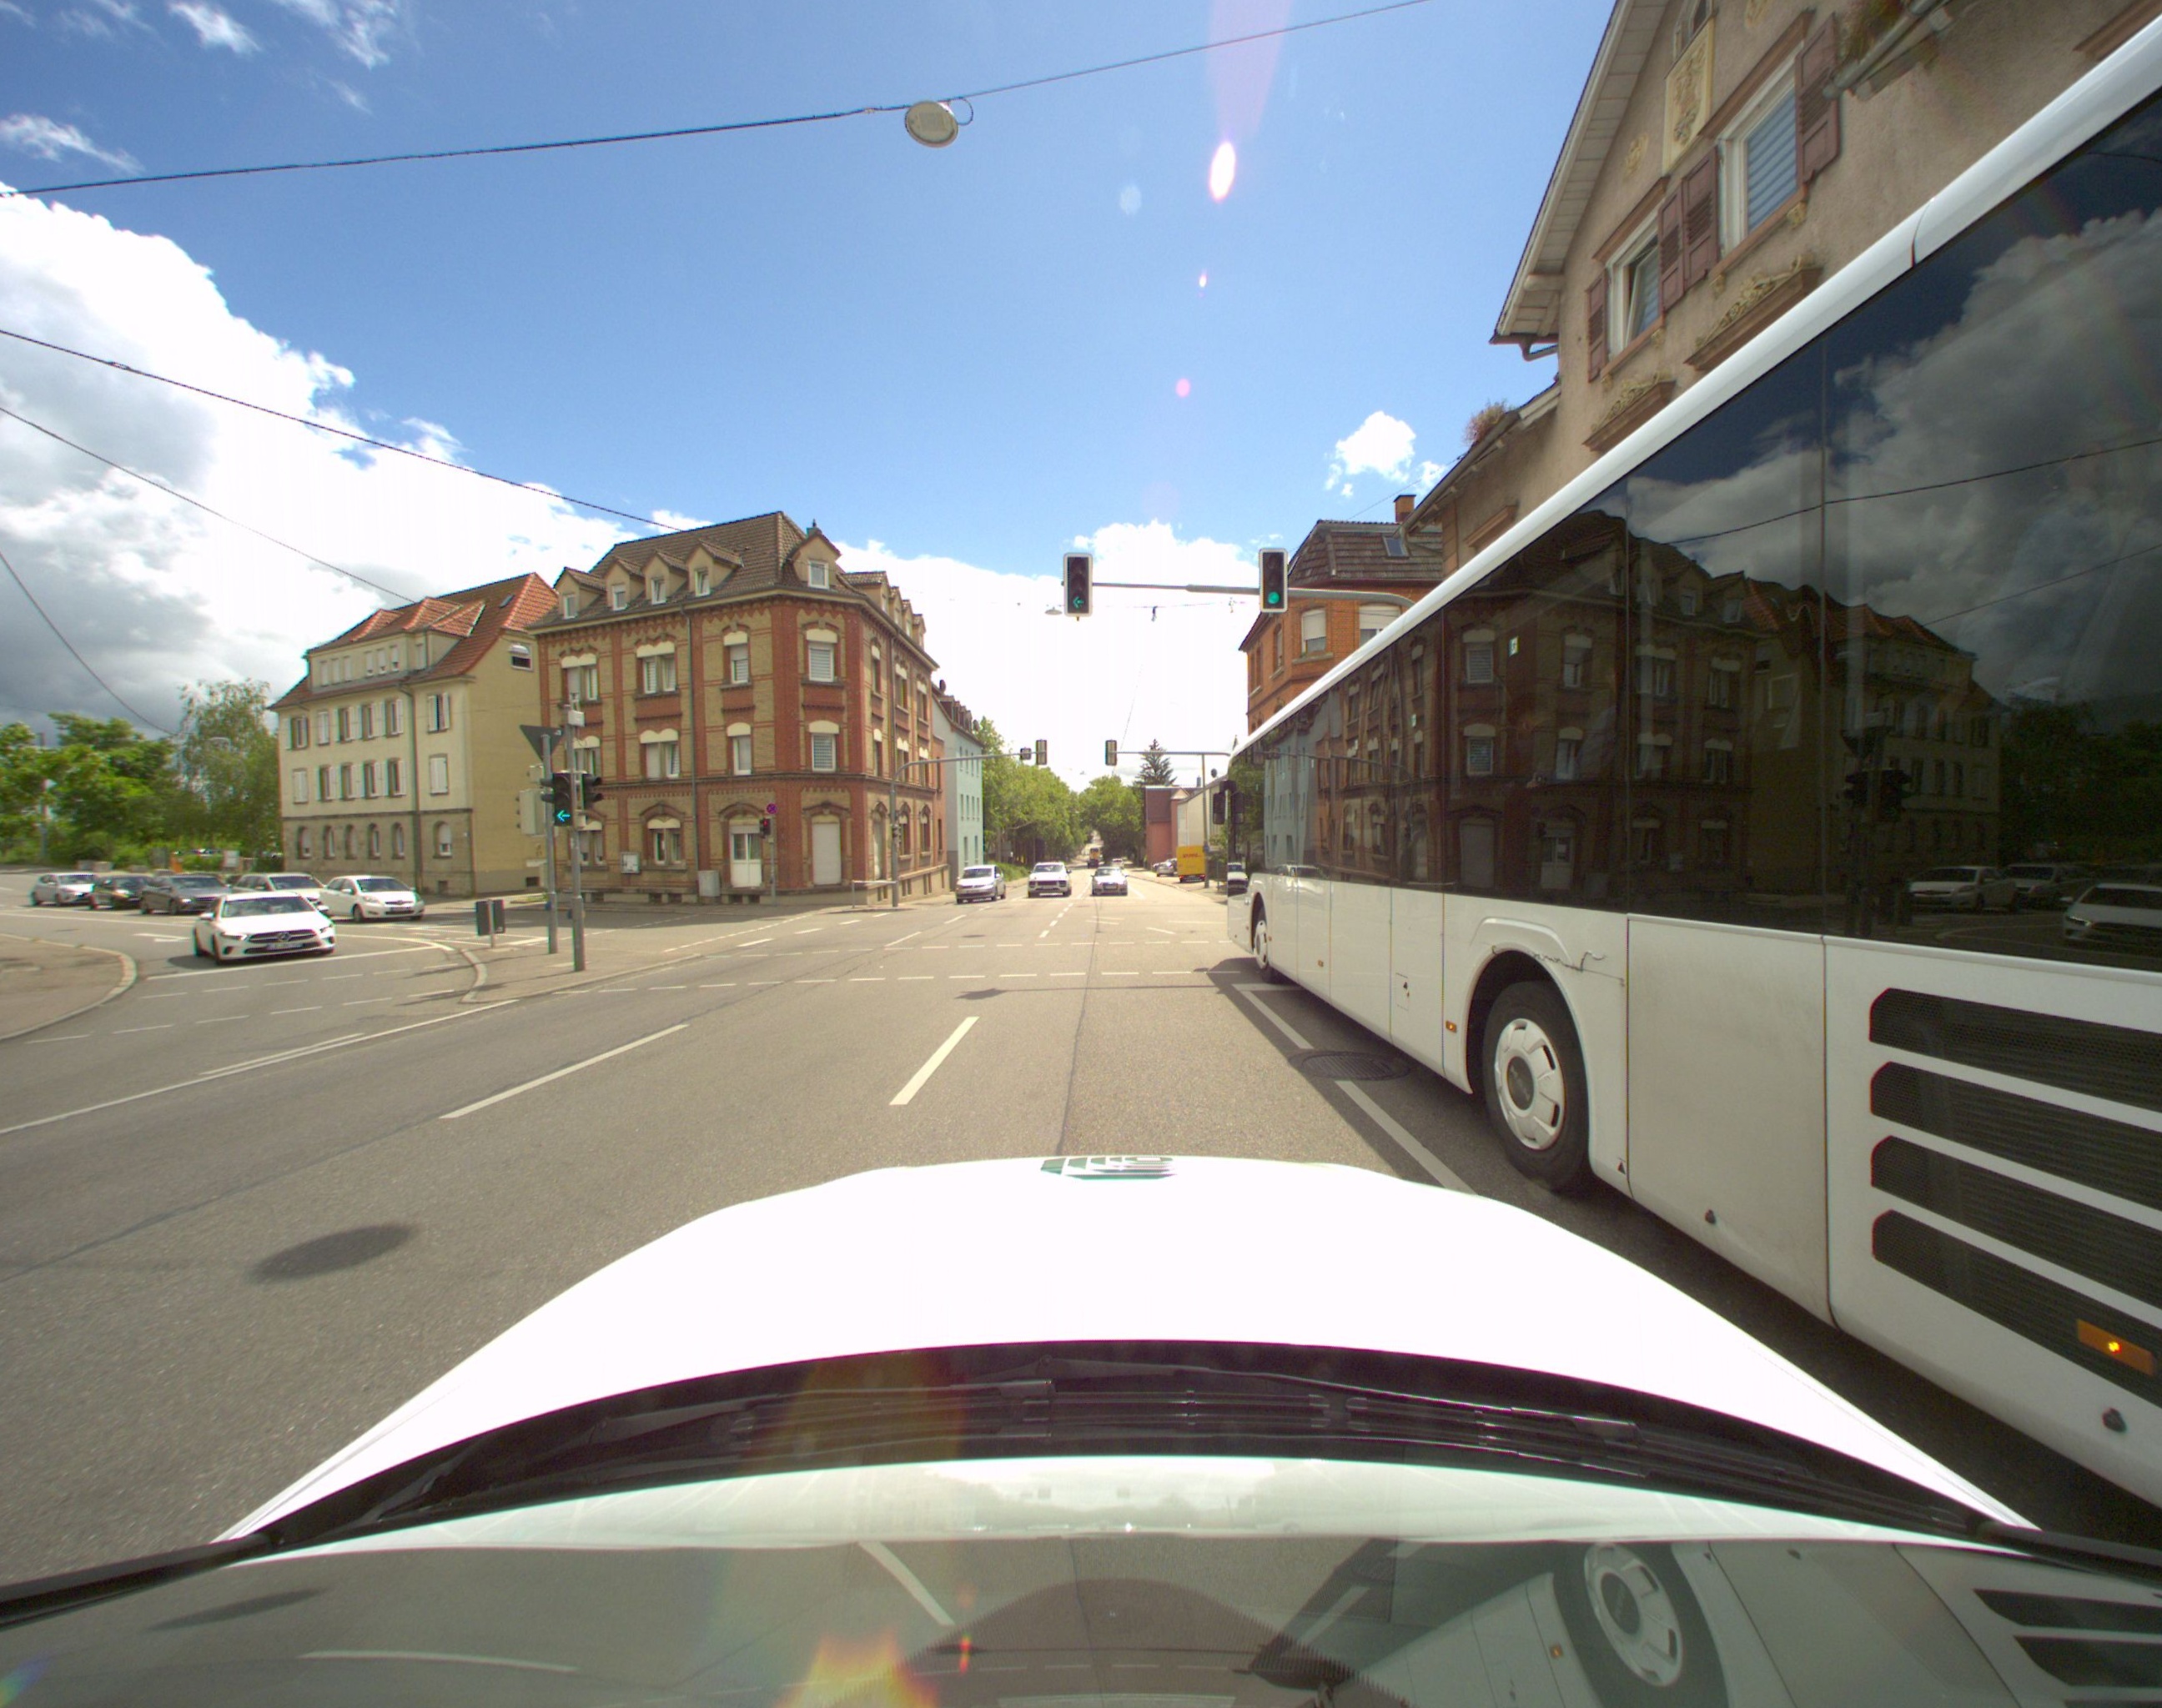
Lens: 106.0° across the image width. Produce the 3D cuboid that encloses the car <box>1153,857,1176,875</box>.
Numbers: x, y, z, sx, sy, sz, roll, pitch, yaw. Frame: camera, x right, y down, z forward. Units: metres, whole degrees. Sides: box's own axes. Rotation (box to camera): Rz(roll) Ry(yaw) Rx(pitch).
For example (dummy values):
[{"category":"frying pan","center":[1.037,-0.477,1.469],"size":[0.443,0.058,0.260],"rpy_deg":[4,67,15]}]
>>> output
[{"category":"car","center":[8.897,1.249,87.037],"size":[1.905,1.817,3.998],"rpy_deg":[-1,-1,-1]}]

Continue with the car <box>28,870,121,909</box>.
[{"category":"car","center":[-47.147,1.642,38.157],"size":[3.950,1.720,1.957],"rpy_deg":[-1,-1,27]}]

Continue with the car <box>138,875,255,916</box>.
[{"category":"car","center":[-35.540,1.656,32.712],"size":[3.951,1.519,2.011],"rpy_deg":[-1,-1,24]}]

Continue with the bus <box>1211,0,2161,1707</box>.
[{"category":"bus","center":[3.373,-0.200,6.834],"size":[2.894,3.510,12.491],"rpy_deg":[-1,-1,2]}]

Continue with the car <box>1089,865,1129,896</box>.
[{"category":"car","center":[1.399,1.296,40.763],"size":[1.858,1.367,4.548],"rpy_deg":[-2,0,2]}]

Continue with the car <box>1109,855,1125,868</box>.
[{"category":"car","center":[5.487,1.108,123.634],"size":[2.086,1.830,4.140],"rpy_deg":[-1,0,-2]}]

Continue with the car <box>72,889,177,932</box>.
[{"category":"car","center":[-40.659,2.348,34.611],"size":[4.291,1.586,2.012],"rpy_deg":[-1,0,29]}]

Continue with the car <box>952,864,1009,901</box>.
[{"category":"car","center":[-4.585,1.267,37.776],"size":[1.928,1.563,4.390],"rpy_deg":[-2,0,2]}]

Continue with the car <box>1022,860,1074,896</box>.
[{"category":"car","center":[-1.575,1.123,40.384],"size":[2.199,1.613,4.548],"rpy_deg":[-2,0,2]}]

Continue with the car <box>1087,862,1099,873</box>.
[{"category":"car","center":[2.098,2.392,140.863],"size":[1.813,1.784,4.001],"rpy_deg":[-2,0,2]}]

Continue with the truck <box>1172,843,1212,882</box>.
[{"category":"truck","center":[8.892,0.683,64.874],"size":[2.524,2.913,6.595],"rpy_deg":[-1,-1,13]}]

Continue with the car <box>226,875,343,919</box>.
[{"category":"car","center":[-29.596,1.575,30.253],"size":[3.951,1.519,1.757],"rpy_deg":[-1,-1,24]}]

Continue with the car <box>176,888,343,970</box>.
[{"category":"car","center":[-18.404,1.594,18.202],"size":[4.334,1.447,1.875],"rpy_deg":[-2,2,36]}]

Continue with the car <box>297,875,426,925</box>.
[{"category":"car","center":[-24.016,1.507,27.172],"size":[3.951,1.497,1.711],"rpy_deg":[-1,-1,24]}]

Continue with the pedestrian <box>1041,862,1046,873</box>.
[{"category":"pedestrian","center":[-6.046,2.191,130.823],"size":[0.604,1.758,0.653],"rpy_deg":[-2,-1,0]}]

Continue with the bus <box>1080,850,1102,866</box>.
[{"category":"bus","center":[2.485,1.052,201.203],"size":[3.301,3.631,11.203],"rpy_deg":[-2,0,-10]}]
